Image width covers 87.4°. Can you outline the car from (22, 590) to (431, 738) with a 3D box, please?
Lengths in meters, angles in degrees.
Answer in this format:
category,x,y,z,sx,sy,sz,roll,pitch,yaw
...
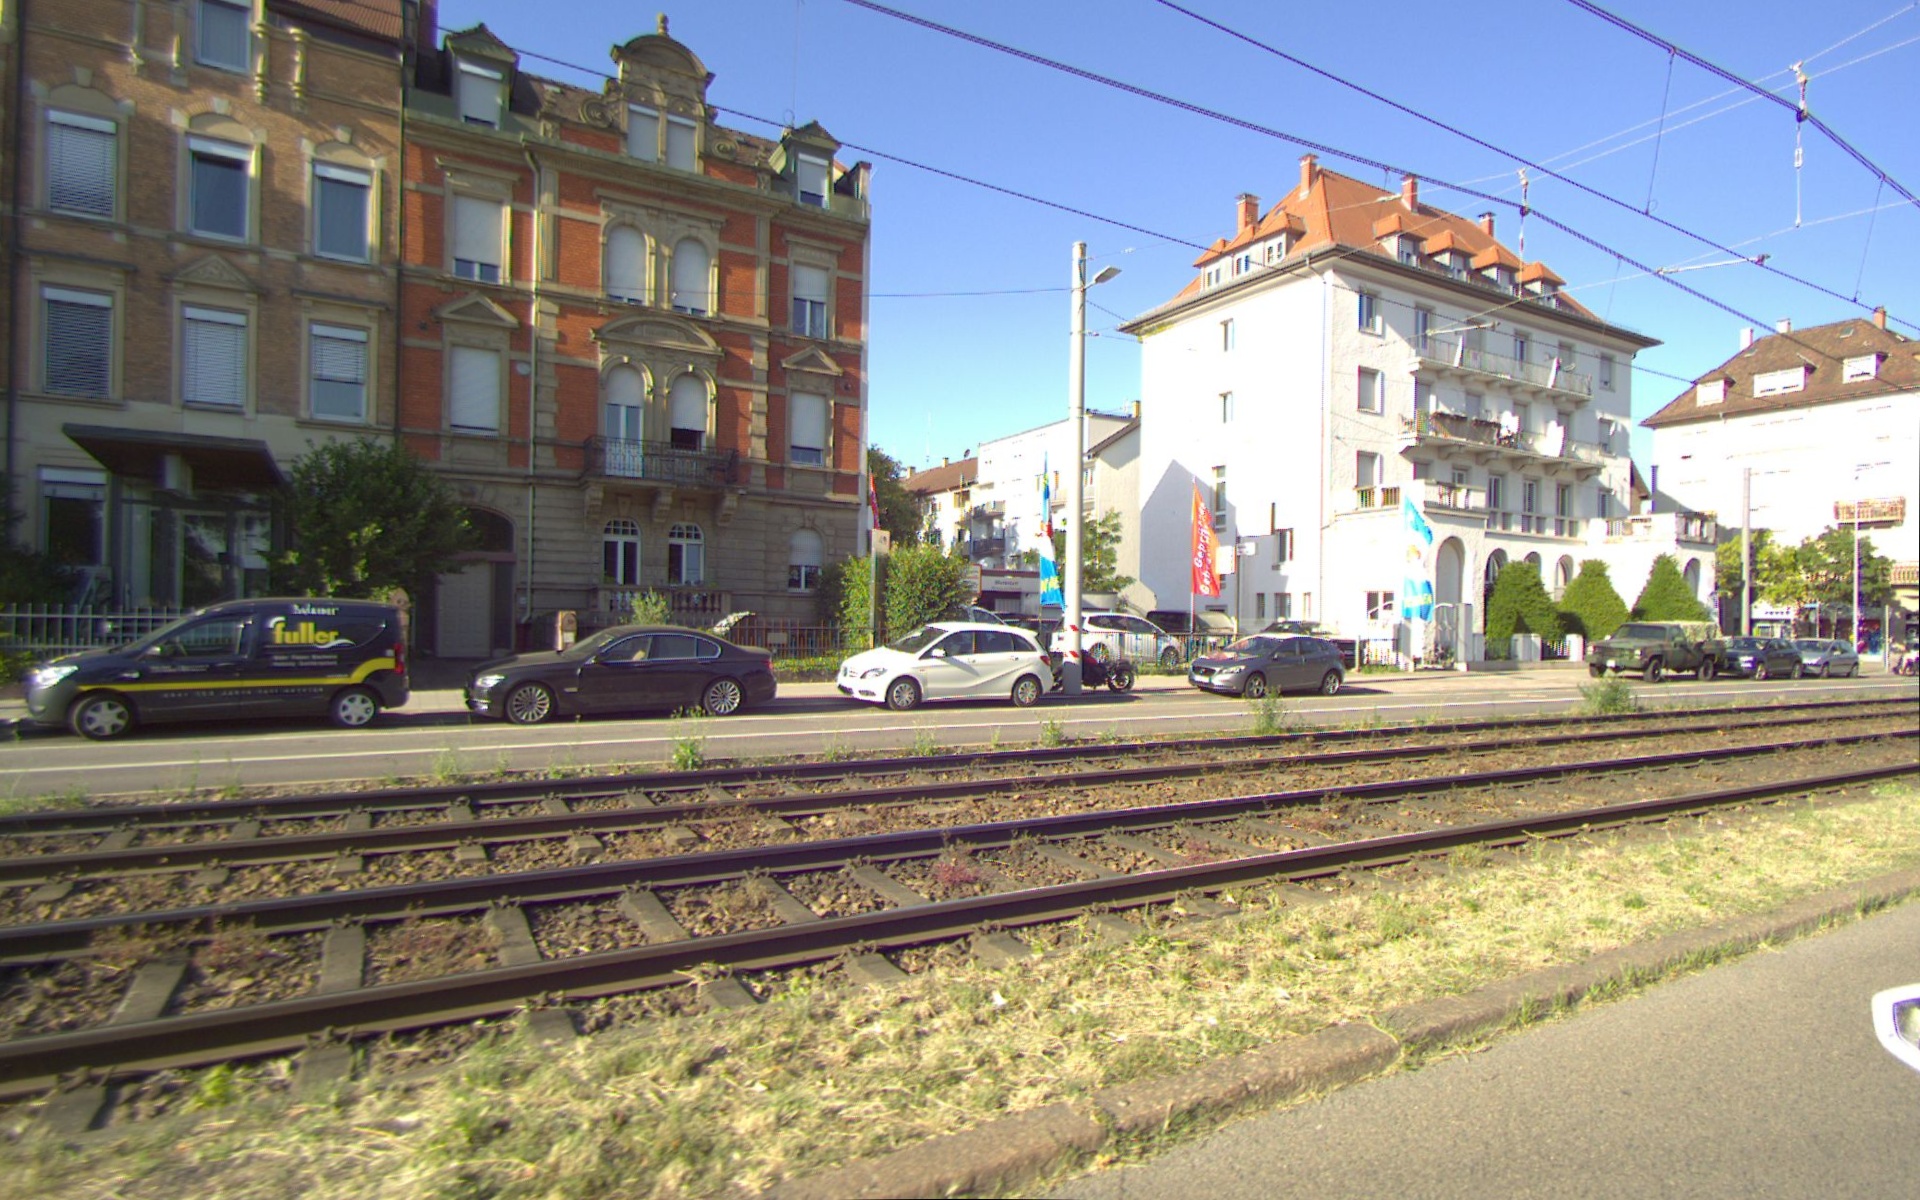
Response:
category,x,y,z,sx,sy,sz,roll,pitch,yaw
car,-10.201,0.827,14.398,4.452,1.804,1.908,1,1,-34

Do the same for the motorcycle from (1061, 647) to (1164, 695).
category,x,y,z,sx,sy,sz,roll,pitch,yaw
motorcycle,3.415,1.590,22.551,2.116,0.967,0.826,3,0,-16

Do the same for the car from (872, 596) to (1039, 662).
category,x,y,z,sx,sy,sz,roll,pitch,yaw
car,-0.121,0.881,29.369,4.503,1.677,1.898,3,-3,-26

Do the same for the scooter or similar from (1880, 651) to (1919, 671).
category,x,y,z,sx,sy,sz,roll,pitch,yaw
scooter or similar,40.369,2.601,42.886,0.792,0.780,1.570,0,-2,2

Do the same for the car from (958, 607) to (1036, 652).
category,x,y,z,sx,sy,sz,roll,pitch,yaw
car,1.624,1.347,45.221,1.912,1.910,3.976,2,-3,-25

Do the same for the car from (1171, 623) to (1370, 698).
category,x,y,z,sx,sy,sz,roll,pitch,yaw
car,7.618,1.422,24.515,4.787,1.480,1.910,1,4,-32

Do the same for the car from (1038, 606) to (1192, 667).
category,x,y,z,sx,sy,sz,roll,pitch,yaw
car,4.900,1.175,31.690,4.503,1.677,1.898,3,-3,-26

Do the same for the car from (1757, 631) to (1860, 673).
category,x,y,z,sx,sy,sz,roll,pitch,yaw
car,33.763,2.071,39.948,3.951,1.530,1.786,2,0,-29

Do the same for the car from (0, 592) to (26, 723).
category,x,y,z,sx,sy,sz,roll,pitch,yaw
car,-14.504,0.722,11.975,4.572,1.706,1.912,1,0,-30

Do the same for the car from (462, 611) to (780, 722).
category,x,y,z,sx,sy,sz,roll,pitch,yaw
car,-5.658,1.052,16.928,4.786,1.581,1.911,1,1,-31

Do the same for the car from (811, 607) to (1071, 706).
category,x,y,z,sx,sy,sz,roll,pitch,yaw
car,-0.346,1.065,19.885,4.781,1.717,1.913,1,1,-28

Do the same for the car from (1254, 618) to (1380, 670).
category,x,y,z,sx,sy,sz,roll,pitch,yaw
car,12.155,1.447,34.494,1.921,1.655,4.124,-1,-1,-20

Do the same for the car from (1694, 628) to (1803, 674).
category,x,y,z,sx,sy,sz,roll,pitch,yaw
car,29.126,1.891,37.083,4.107,1.527,1.628,3,0,-28

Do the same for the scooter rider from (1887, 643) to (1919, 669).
category,x,y,z,sx,sy,sz,roll,pitch,yaw
scooter rider,40.373,2.392,42.849,0.792,1.103,0.979,0,-1,2

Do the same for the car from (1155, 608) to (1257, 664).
category,x,y,z,sx,sy,sz,roll,pitch,yaw
car,9.470,1.344,38.947,1.958,2.029,4.066,0,-1,-20

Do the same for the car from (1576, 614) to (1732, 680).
category,x,y,z,sx,sy,sz,roll,pitch,yaw
car,23.874,1.603,34.519,5.522,2.037,2.068,2,1,-28
